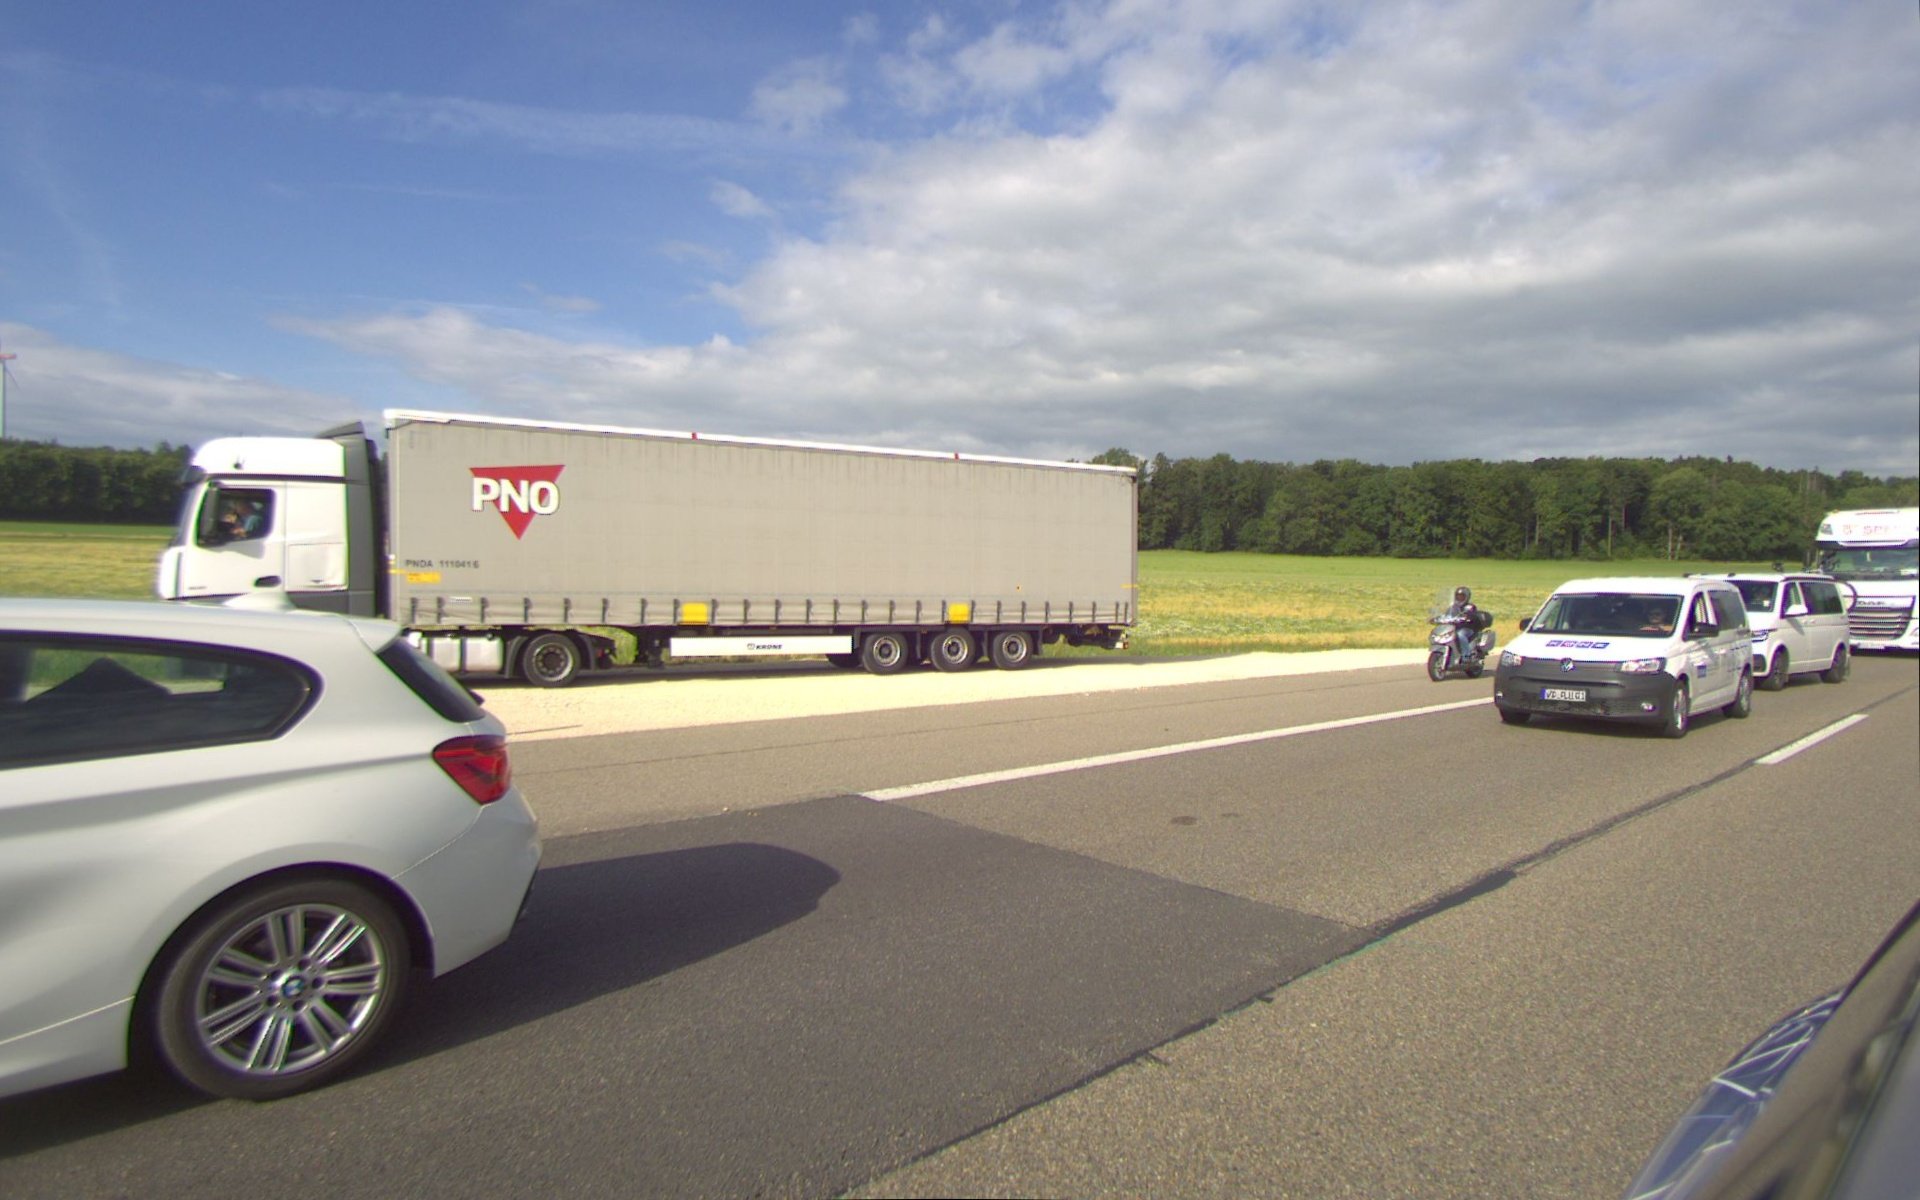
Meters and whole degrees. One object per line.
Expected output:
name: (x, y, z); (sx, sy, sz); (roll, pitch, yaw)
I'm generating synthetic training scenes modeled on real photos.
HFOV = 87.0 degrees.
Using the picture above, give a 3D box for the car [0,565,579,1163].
car: (-3.390, 0.640, 2.665); (4.158, 1.450, 1.706); (0, 0, -41)

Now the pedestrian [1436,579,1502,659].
pedestrian: (9.195, 0.328, 18.295); (0.803, 1.391, 0.758); (1, 0, -32)

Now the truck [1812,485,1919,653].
truck: (25.858, -0.815, 27.975); (5.667, 4.226, 2.733); (-1, 1, -41)

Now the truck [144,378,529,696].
truck: (-9.311, -0.831, 15.687); (4.662, 4.227, 2.726); (1, 0, -26)

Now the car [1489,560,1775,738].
car: (8.287, 0.490, 12.298); (4.620, 1.779, 1.727); (0, 0, -41)

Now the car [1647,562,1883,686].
car: (14.548, 0.380, 18.190); (5.165, 1.949, 1.801); (0, 0, -33)

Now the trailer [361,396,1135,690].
trailer: (-3.121, -0.792, 18.785); (13.544, 4.213, 2.748); (0, 0, -27)

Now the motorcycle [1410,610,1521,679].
motorcycle: (9.125, 0.767, 18.252); (2.200, 1.164, 0.759); (0, 1, -33)

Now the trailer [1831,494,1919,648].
trailer: (31.034, -0.895, 32.575); (13.778, 4.212, 2.739); (-1, 1, -42)
